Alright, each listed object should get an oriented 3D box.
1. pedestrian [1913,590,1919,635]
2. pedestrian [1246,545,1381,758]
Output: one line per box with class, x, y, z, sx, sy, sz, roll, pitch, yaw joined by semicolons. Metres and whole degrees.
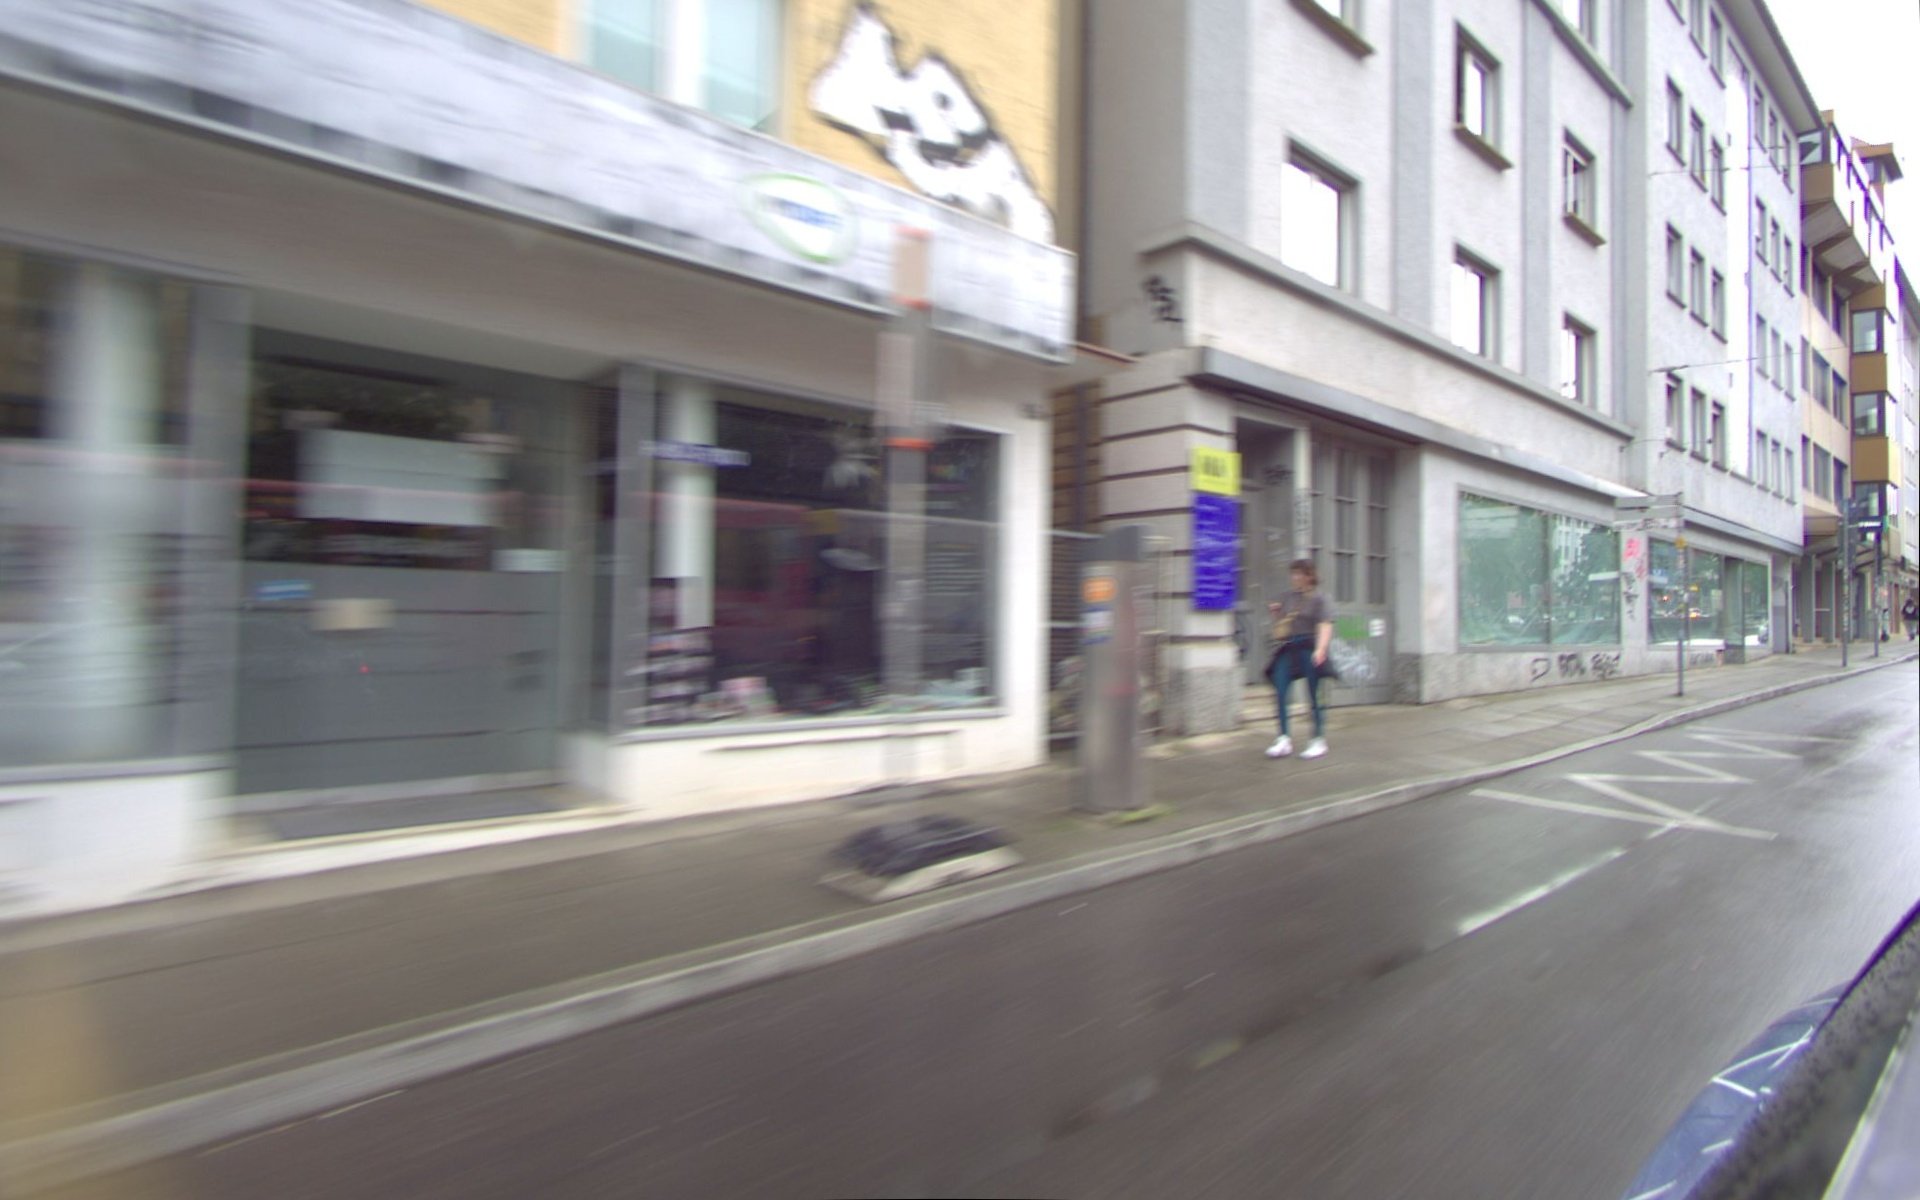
pedestrian;37.372;0.480;39.163;0.867;1.722;0.639;1;-1;-40
pedestrian;2.973;0.418;8.536;0.708;1.681;0.792;1;-2;-41
